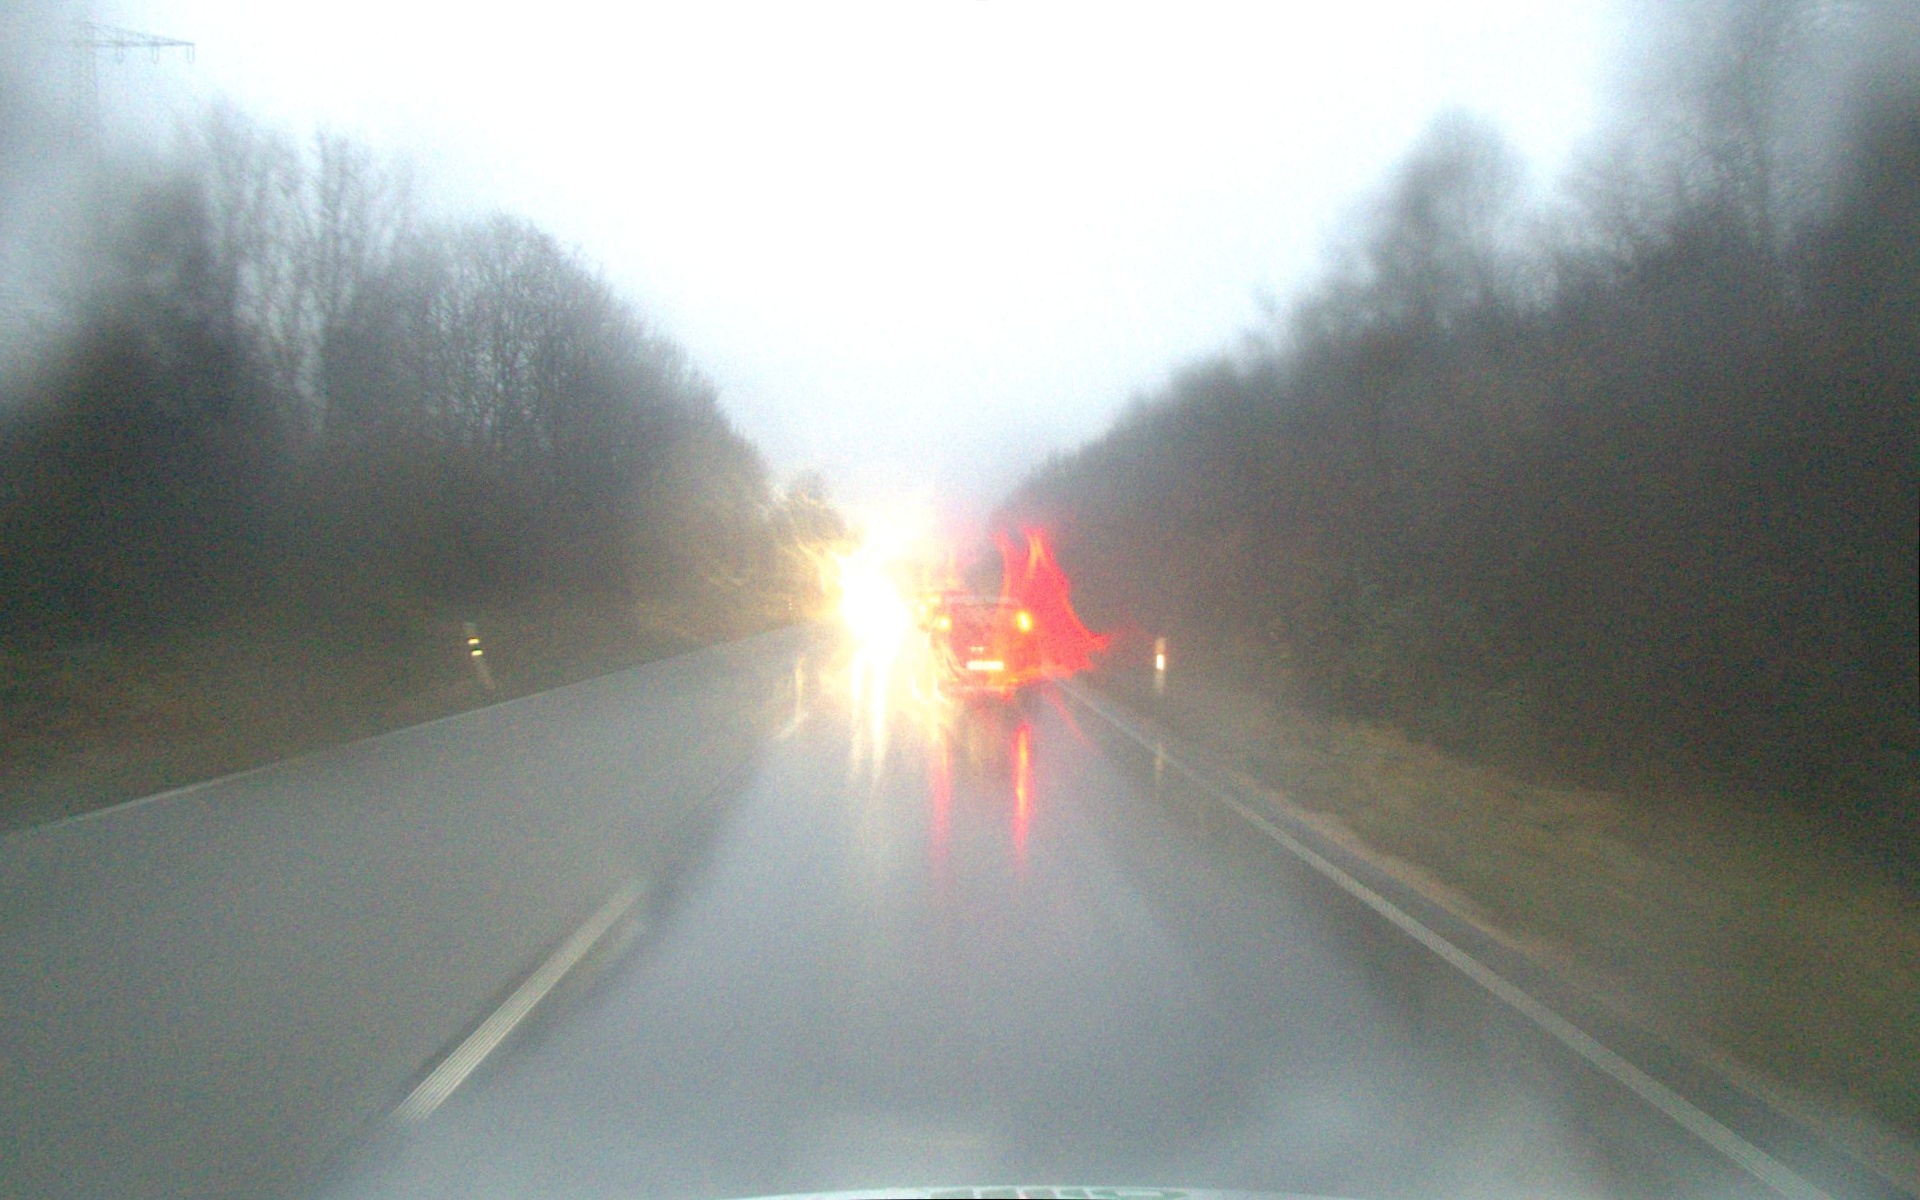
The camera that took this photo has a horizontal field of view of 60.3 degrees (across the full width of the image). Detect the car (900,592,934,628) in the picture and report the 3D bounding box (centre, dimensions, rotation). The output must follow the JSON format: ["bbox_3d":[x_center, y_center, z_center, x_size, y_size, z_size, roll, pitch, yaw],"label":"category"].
[{"bbox_3d":[-2.219,0.494,85.026,1.698,1.810,3.999,1,0,-1],"label":"car"}]

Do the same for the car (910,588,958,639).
[{"bbox_3d":[-0.977,0.502,61.362,1.698,1.810,3.999,1,0,-1],"label":"car"}]

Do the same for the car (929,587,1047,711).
[{"bbox_3d":[0.409,0.684,24.723,1.614,1.701,3.514,1,0,1],"label":"car"}]
